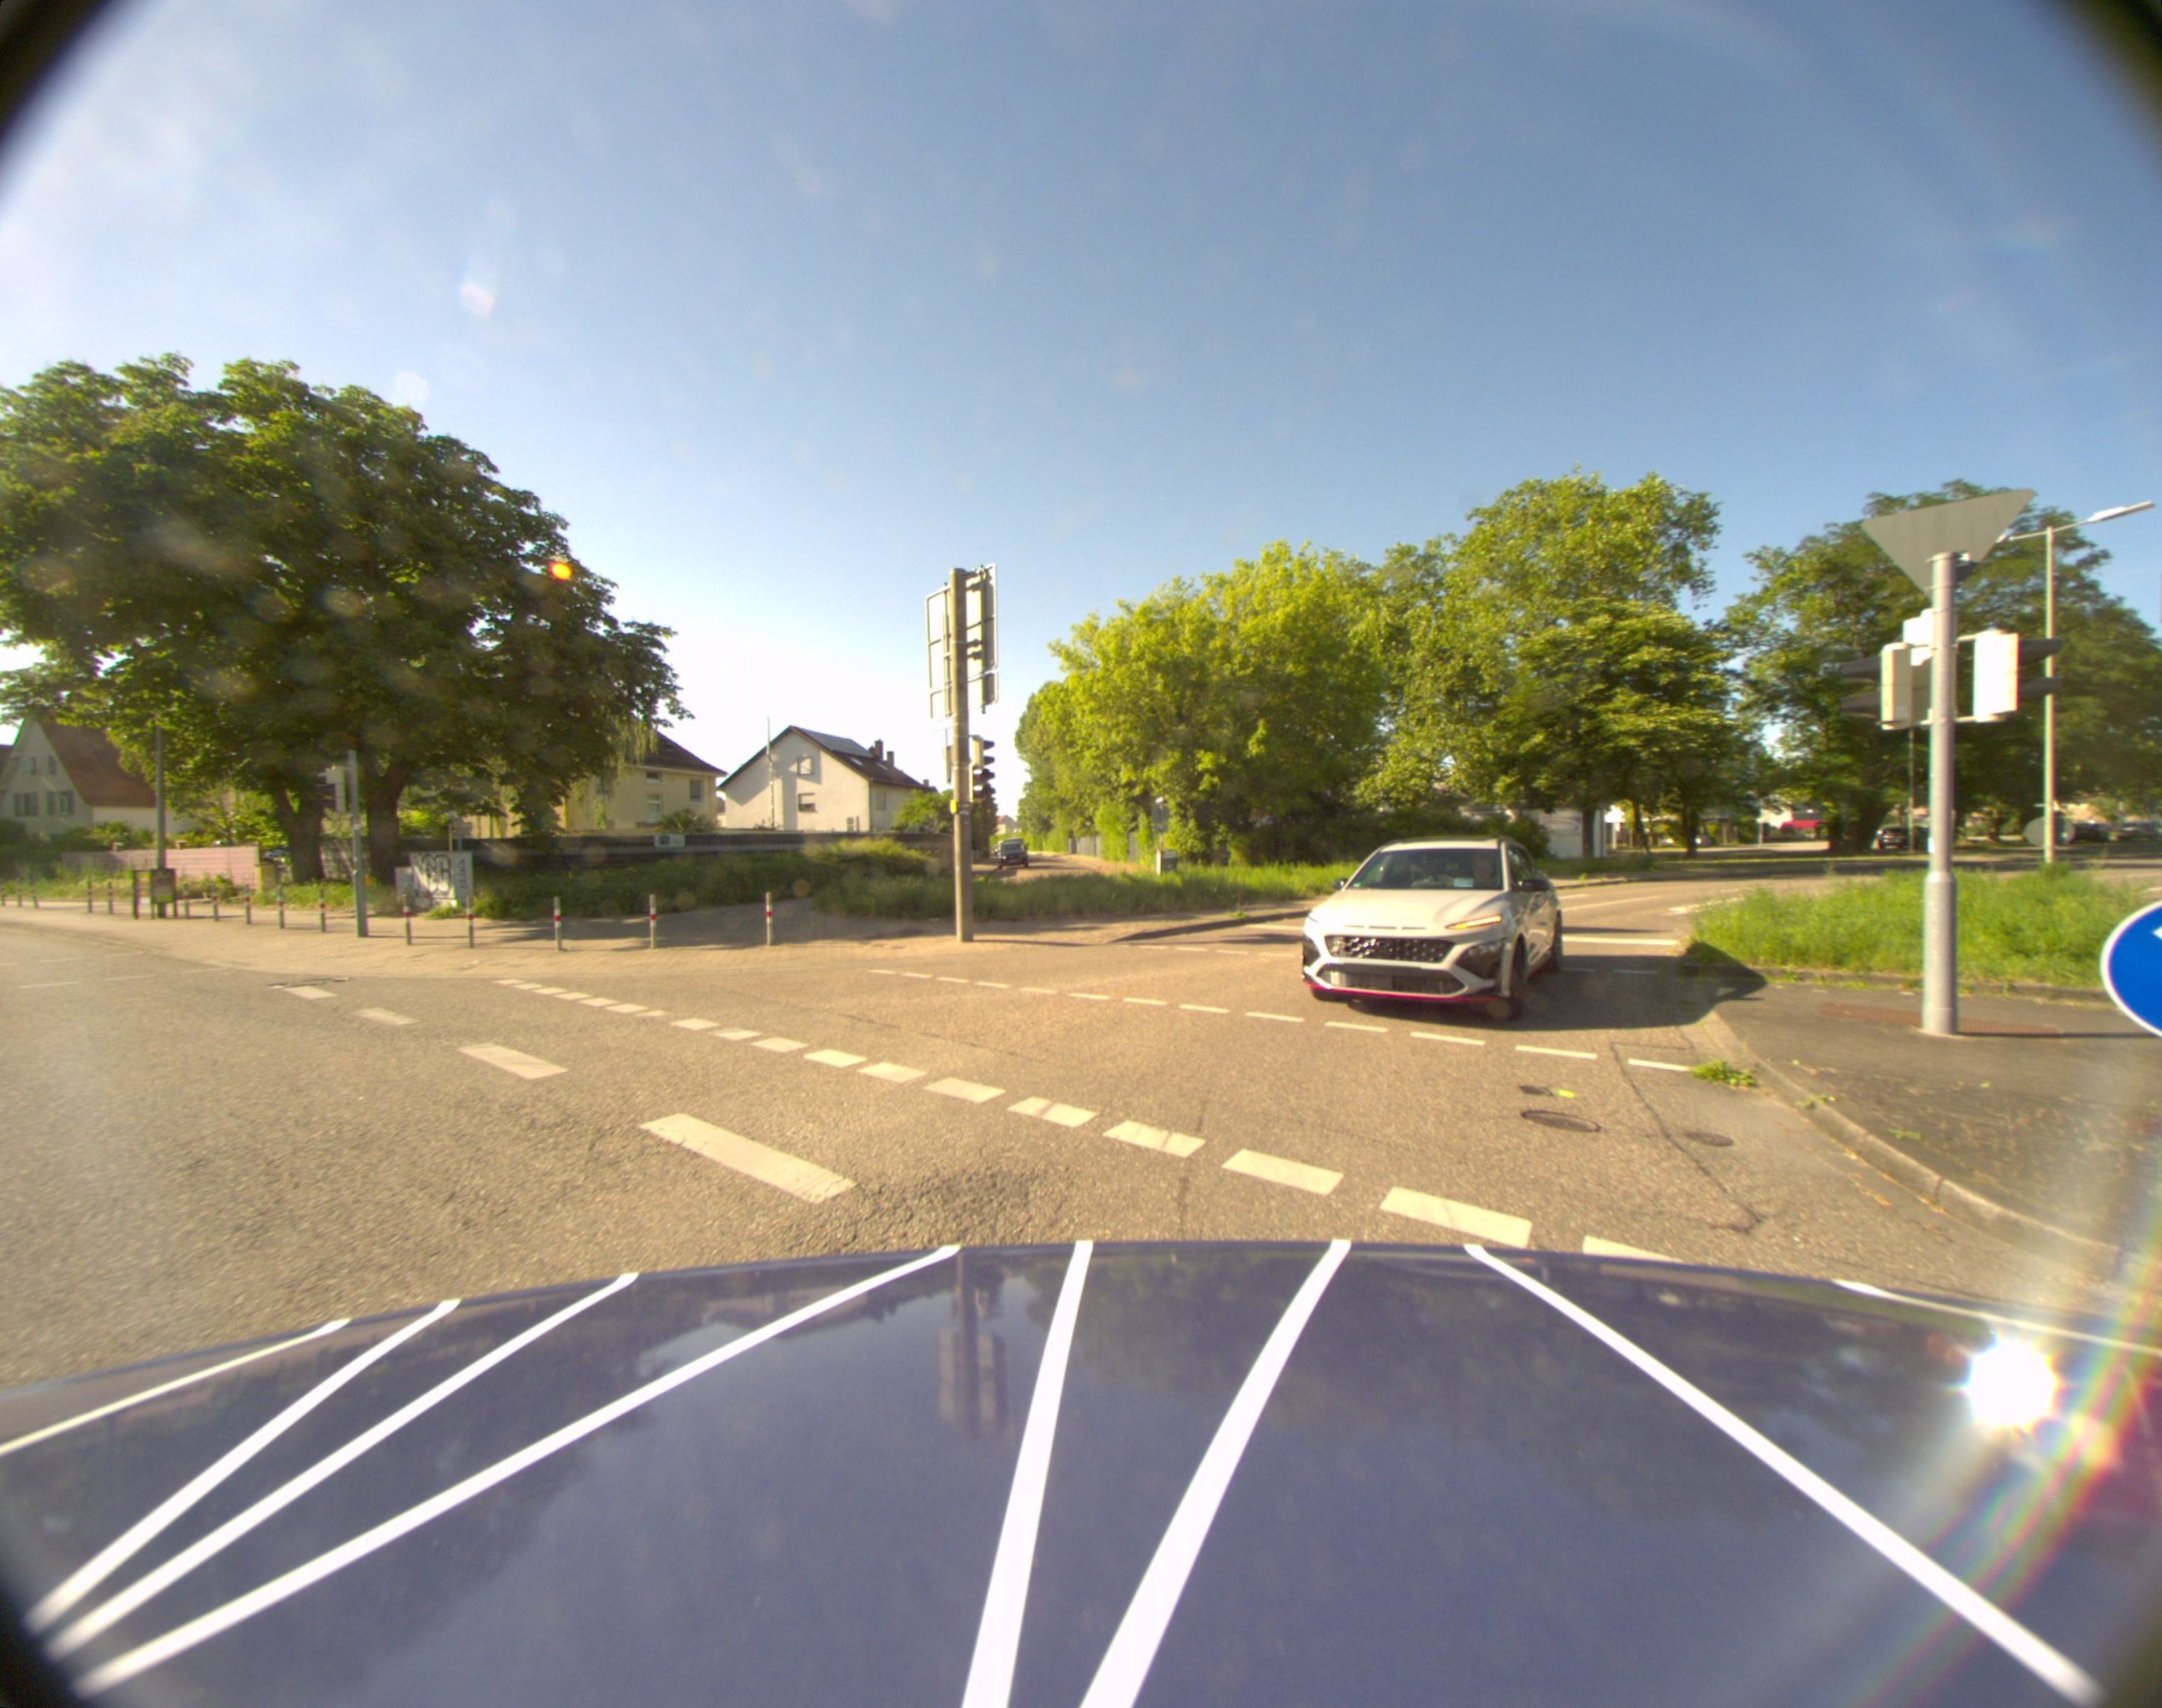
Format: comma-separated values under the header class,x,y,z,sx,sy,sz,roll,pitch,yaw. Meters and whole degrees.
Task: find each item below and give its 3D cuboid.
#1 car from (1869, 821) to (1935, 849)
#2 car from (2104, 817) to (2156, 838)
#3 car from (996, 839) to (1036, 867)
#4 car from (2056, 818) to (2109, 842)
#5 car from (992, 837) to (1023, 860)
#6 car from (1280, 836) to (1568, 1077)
class,x,y,z,sx,sy,sz,roll,pitch,yaw
car,55.747,-1.275,51.592,4.005,1.785,2.005,-2,1,-27
car,76.080,-1.965,55.110,3.488,1.432,1.867,-3,3,-31
car,-3.916,-0.086,46.341,1.999,1.547,3.999,-2,1,0
car,70.080,-1.706,53.181,4.006,1.610,1.733,-3,4,-31
car,-5.716,-0.459,59.413,1.962,1.657,3.999,-1,1,0
car,3.683,0.724,7.692,1.711,1.636,4.062,0,3,38
